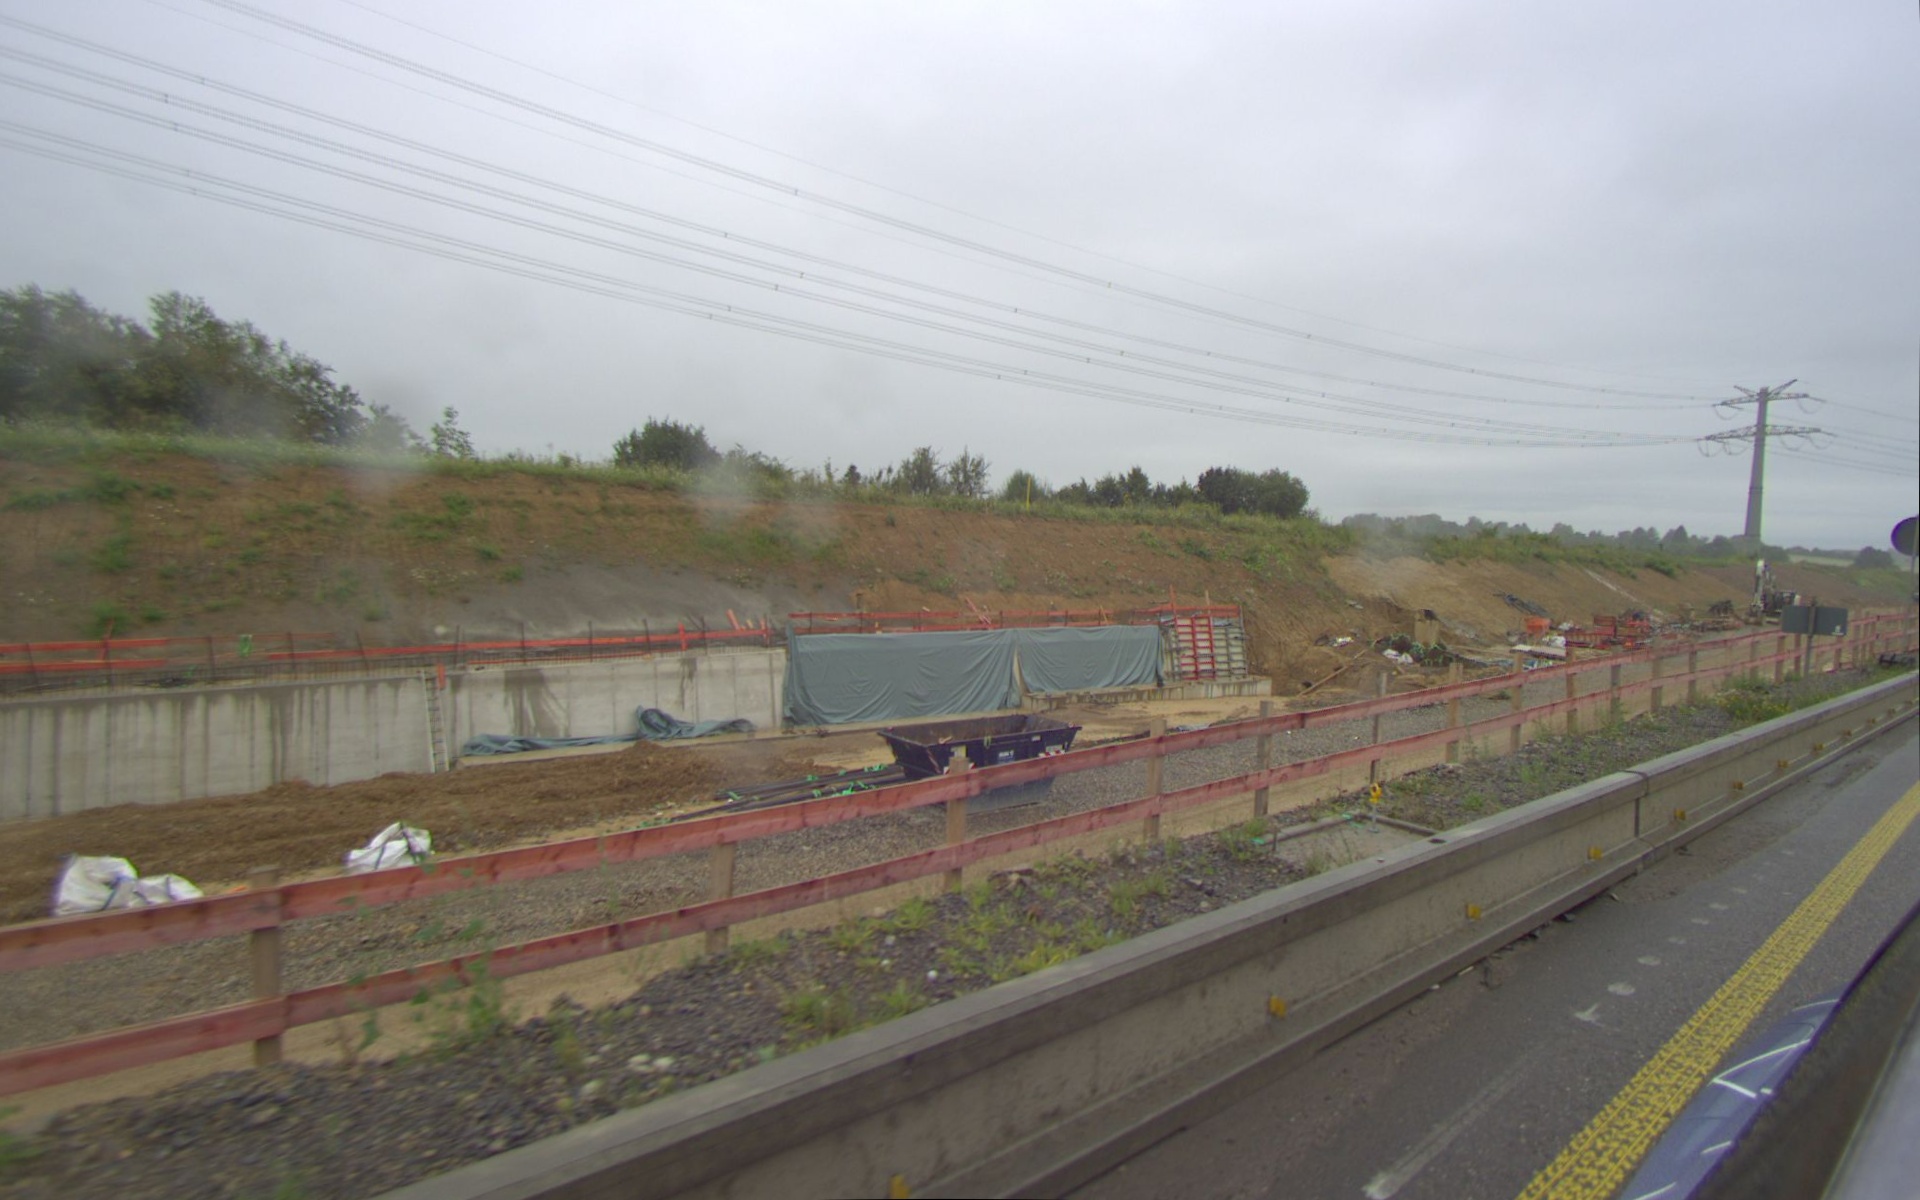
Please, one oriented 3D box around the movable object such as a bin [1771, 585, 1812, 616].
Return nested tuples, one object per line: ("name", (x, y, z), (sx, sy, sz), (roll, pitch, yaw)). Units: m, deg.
("movable object such as a bin", (75.512, 0.007, 91.909), (3.931, 2.753, 2.249), (-1, 0, -41))
